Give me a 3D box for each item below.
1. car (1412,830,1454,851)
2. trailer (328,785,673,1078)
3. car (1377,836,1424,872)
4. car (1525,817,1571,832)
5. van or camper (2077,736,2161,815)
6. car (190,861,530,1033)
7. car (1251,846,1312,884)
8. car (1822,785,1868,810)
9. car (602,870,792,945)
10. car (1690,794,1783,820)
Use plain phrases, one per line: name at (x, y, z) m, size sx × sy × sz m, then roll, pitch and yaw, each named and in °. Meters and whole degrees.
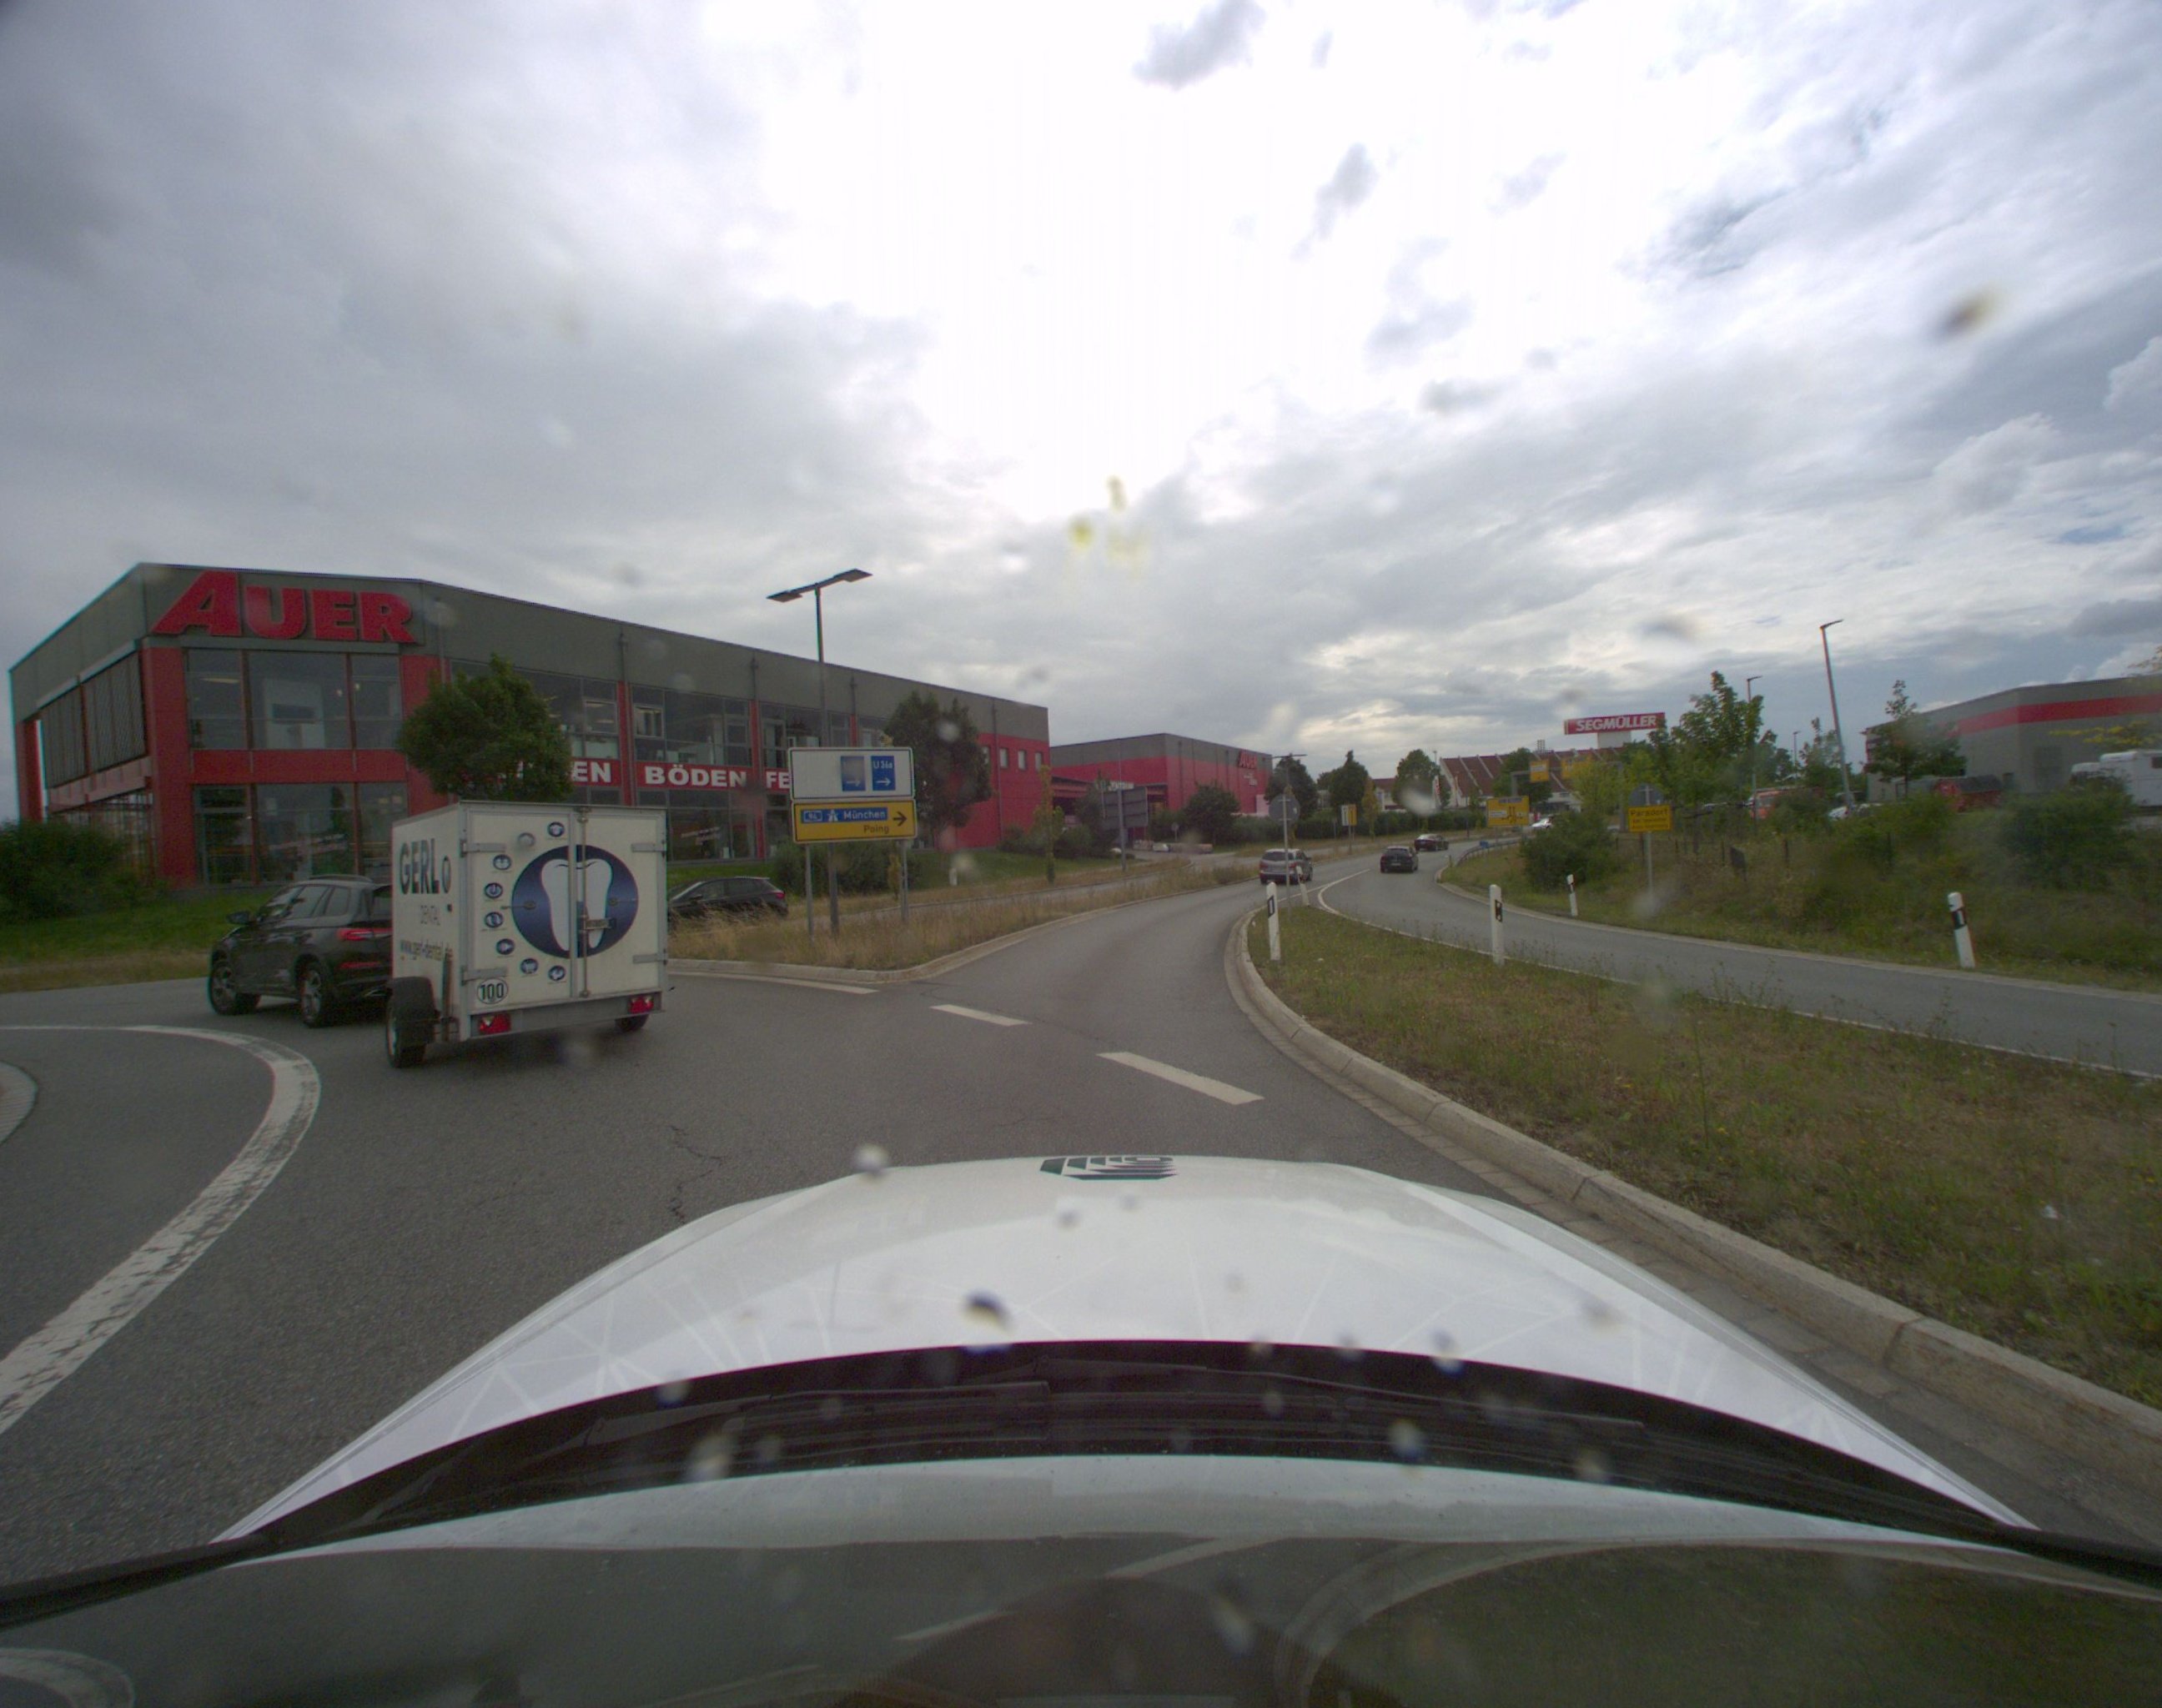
car at (28.733, -1.099, 66.345) m, size 1.888 × 1.618 × 4.025 m, roll -2°, pitch 0°, yaw 42°
trailer at (-5.744, 0.569, 7.856) m, size 4.093 × 2.091 × 1.824 m, roll -2°, pitch 0°, yaw 42°
car at (17.857, -0.017, 45.453) m, size 1.851 × 1.604 × 3.759 m, roll -4°, pitch 3°, yaw 29°
car at (53.683, -3.391, 93.578) m, size 4.632 × 1.625 × 1.905 m, roll -1°, pitch 4°, yaw -17°
van or camper at (47.994, -3.507, 34.013) m, size 7.640 × 3.178 × 2.508 m, roll -3°, pitch 1°, yaw 28°
car at (-9.025, 1.044, 10.101) m, size 4.556 × 1.670 × 1.828 m, roll -3°, pitch 0°, yaw 31°
car at (9.425, 0.480, 38.020) m, size 1.750 × 1.616 × 3.946 m, roll -2°, pitch 0°, yaw 29°
car at (62.465, -4.615, 66.650) m, size 1.683 × 1.811 × 3.996 m, roll -5°, pitch 0°, yaw 29°
car at (-9.191, 1.219, 19.716) m, size 1.624 × 1.459 × 3.792 m, roll -2°, pitch 1°, yaw 39°
car at (42.468, -3.021, 52.844) m, size 4.552 × 1.400 × 1.706 m, roll -2°, pitch 1°, yaw 5°
